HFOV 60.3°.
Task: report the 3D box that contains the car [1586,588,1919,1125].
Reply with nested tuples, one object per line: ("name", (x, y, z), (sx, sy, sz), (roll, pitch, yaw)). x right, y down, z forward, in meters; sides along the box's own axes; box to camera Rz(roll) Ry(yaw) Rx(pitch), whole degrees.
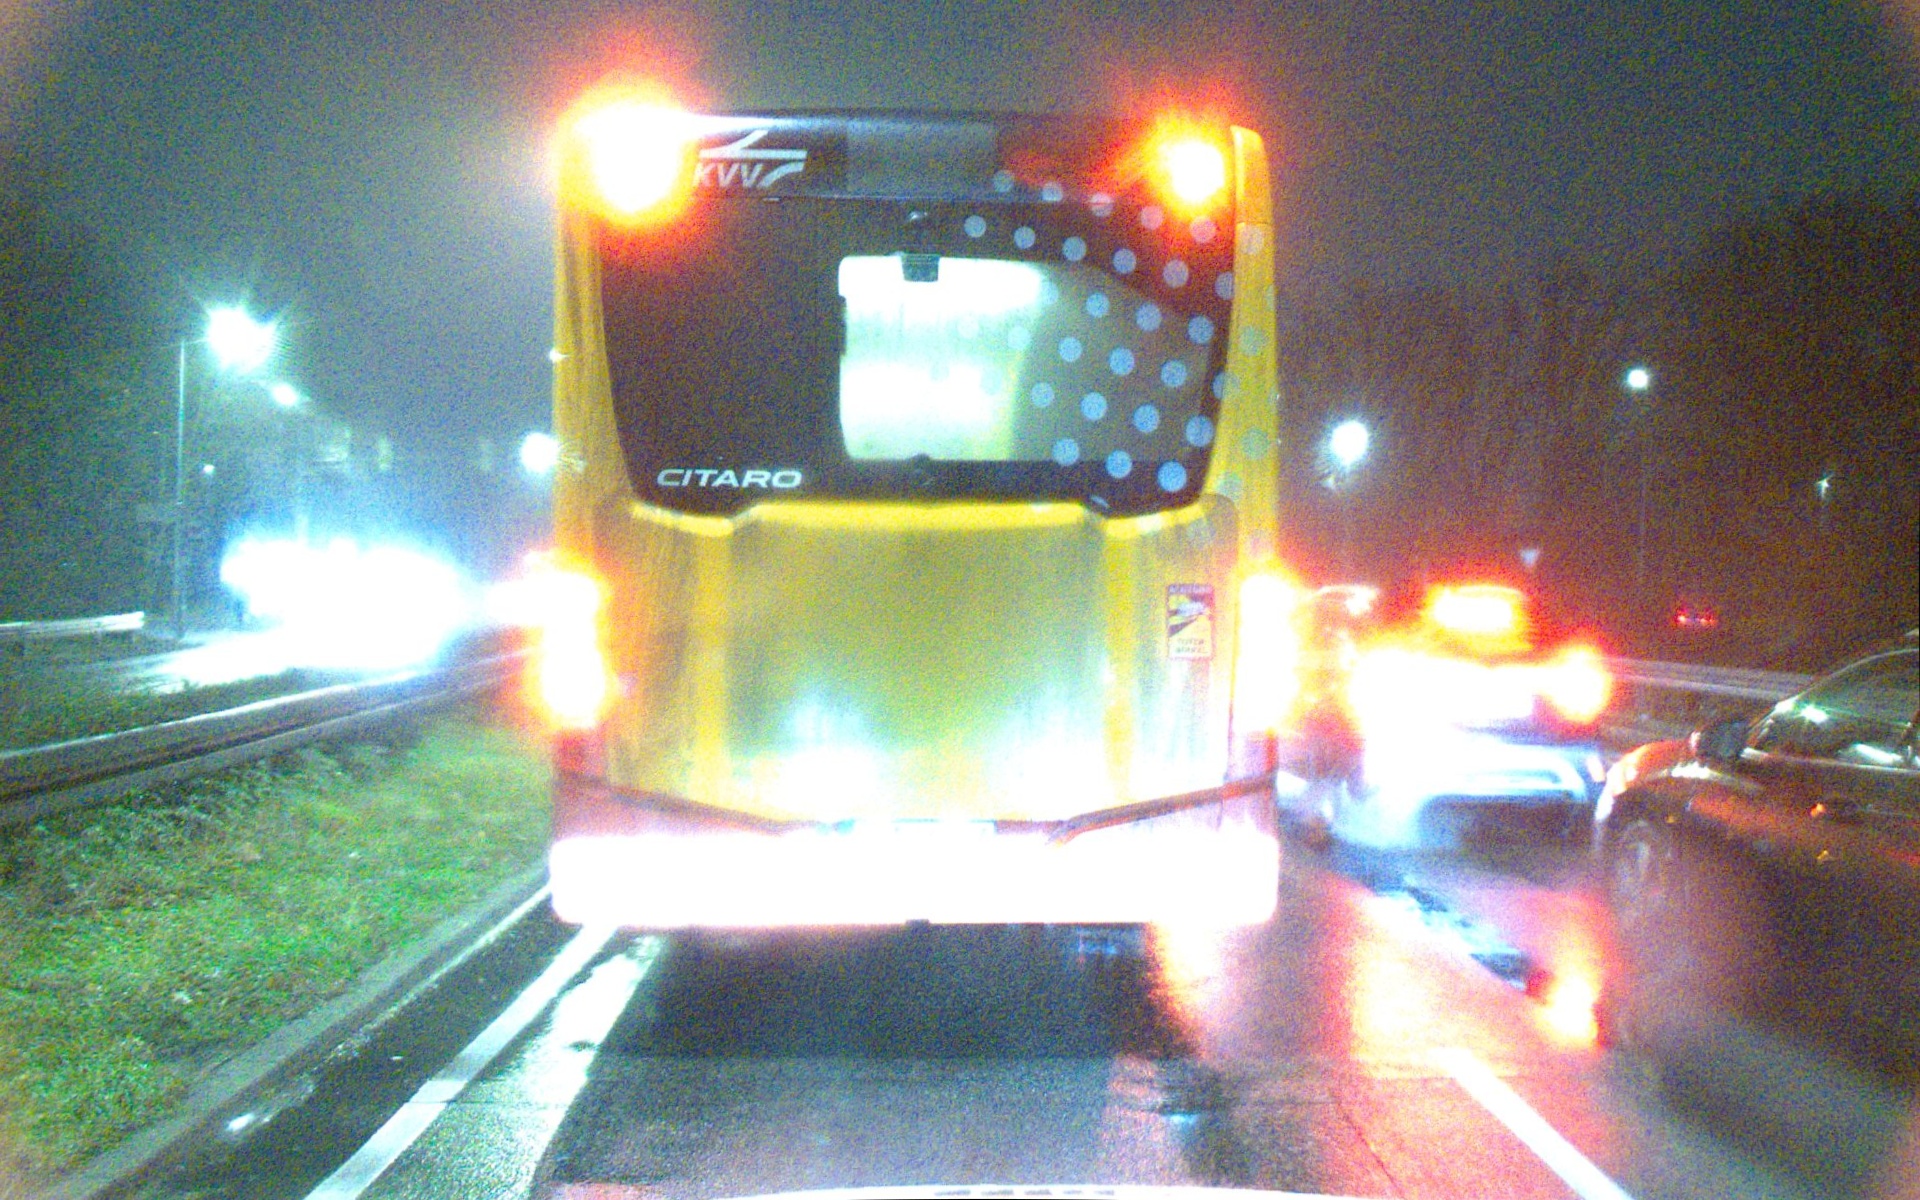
("car", (3.577, 0.755, 4.900), (1.639, 1.532, 4.558), (2, 0, -1))

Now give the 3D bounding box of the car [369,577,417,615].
("car", (-22.390, -0.155, 65.434), (1.685, 1.448, 4.644), (0, 0, -18))

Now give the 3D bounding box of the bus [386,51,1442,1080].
("bus", (-0.308, -0.235, 9.836), (3.219, 3.103, 9.540), (0, 2, -2))

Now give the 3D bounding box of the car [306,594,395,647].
("car", (-18.760, 0.602, 51.100), (1.959, 1.534, 4.823), (0, 0, -13))

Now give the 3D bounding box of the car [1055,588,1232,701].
("car", (2.549, 0.592, 23.912), (1.953, 1.466, 3.998), (1, 0, -3))

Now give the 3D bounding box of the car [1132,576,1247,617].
("car", (9.519, -0.163, 68.727), (4.399, 1.545, 1.854), (1, 2, -9))

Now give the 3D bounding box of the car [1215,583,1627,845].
("car", (3.066, 0.691, 11.861), (1.644, 1.548, 3.957), (1, 0, -3))

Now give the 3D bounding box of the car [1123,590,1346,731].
("car", (2.863, 0.588, 18.051), (1.652, 1.353, 3.959), (0, 0, -2))

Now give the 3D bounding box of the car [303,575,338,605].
("car", (-35.383, -0.567, 91.504), (1.741, 1.659, 4.222), (0, 1, -22))
